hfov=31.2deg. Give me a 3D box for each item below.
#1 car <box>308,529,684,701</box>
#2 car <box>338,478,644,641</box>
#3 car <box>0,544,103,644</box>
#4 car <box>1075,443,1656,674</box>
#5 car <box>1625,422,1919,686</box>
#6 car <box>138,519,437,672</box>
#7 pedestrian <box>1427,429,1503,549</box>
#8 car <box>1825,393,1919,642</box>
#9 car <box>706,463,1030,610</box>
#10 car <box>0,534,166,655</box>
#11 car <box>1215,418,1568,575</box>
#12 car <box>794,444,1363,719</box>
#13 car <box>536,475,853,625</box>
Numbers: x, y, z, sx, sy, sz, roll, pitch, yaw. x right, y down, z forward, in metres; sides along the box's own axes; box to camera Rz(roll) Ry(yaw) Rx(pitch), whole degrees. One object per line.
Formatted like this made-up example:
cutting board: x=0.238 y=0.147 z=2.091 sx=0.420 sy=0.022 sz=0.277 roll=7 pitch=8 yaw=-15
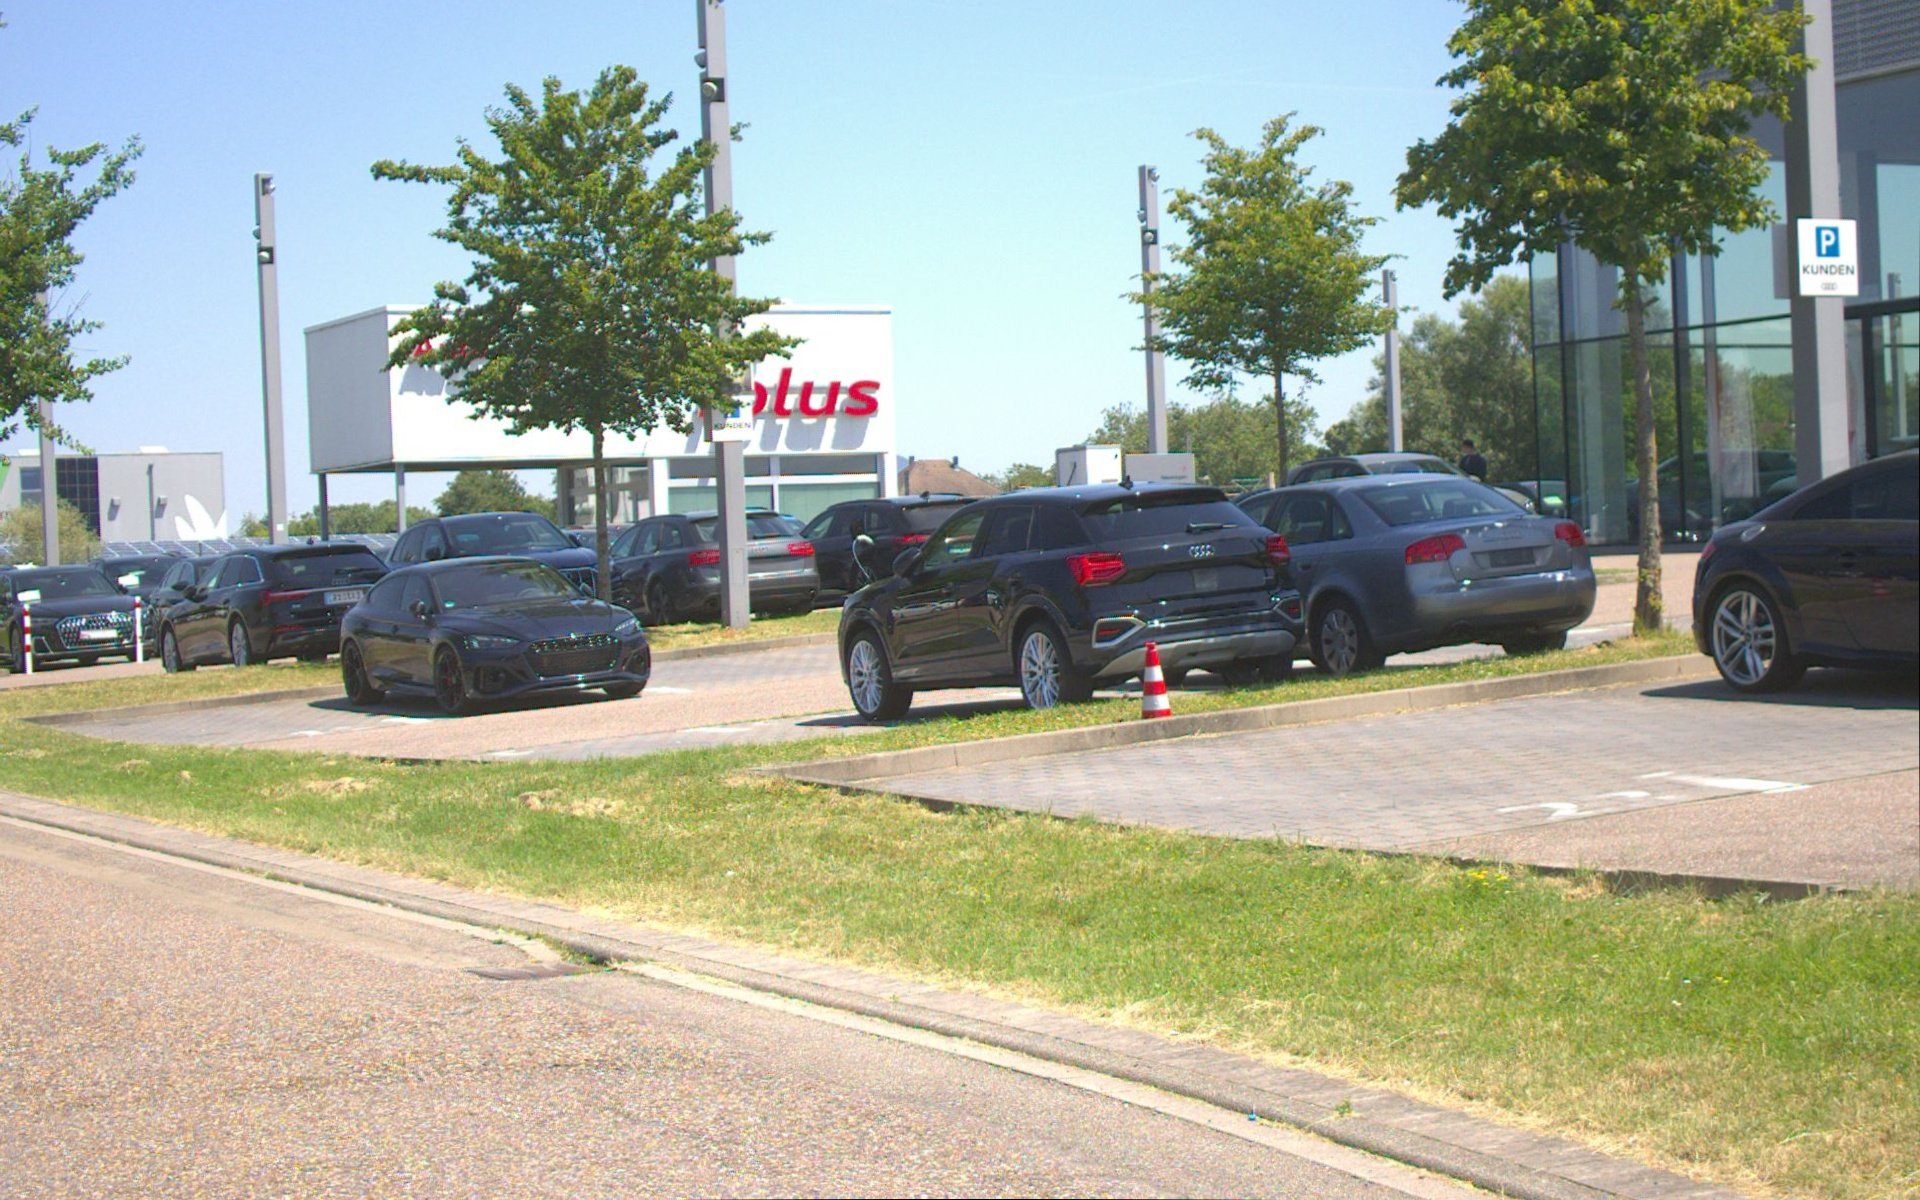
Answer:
car: x=-4.535 y=0.093 z=32.959 sx=1.961 sy=1.361 sz=4.721 roll=-6 pitch=4 yaw=-28
car: x=-5.699 y=-0.446 z=41.214 sx=1.961 sy=1.592 sz=4.986 roll=-4 pitch=0 yaw=-28
car: x=-18.140 y=0.000 z=62.451 sx=4.528 sy=1.687 sz=2.031 roll=-4 pitch=1 yaw=-29
car: x=2.793 y=-0.276 z=24.658 sx=1.961 sy=1.361 sz=4.228 roll=-6 pitch=3 yaw=-28
car: x=5.772 y=-0.308 z=18.429 sx=1.961 sy=1.370 sz=4.312 roll=-5 pitch=2 yaw=-28
car: x=-7.860 y=-0.010 z=39.794 sx=1.961 sy=1.451 sz=4.986 roll=-4 pitch=0 yaw=-28
pedestrian: x=7.689 y=-1.685 z=52.339 sx=0.770 sy=1.770 sz=0.745 roll=-4 pitch=1 yaw=-23
car: x=7.648 y=-0.596 z=20.309 sx=1.961 sy=1.547 sz=5.006 roll=-5 pitch=2 yaw=-28
car: x=-1.233 y=-0.758 z=42.982 sx=1.961 sy=1.451 sz=4.986 roll=-4 pitch=0 yaw=-28
car: x=-13.307 y=-0.068 z=50.164 sx=2.025 sy=1.509 sz=5.240 roll=-6 pitch=2 yaw=-27
car: x=5.525 y=-1.307 z=44.780 sx=1.961 sy=1.615 sz=4.986 roll=-4 pitch=0 yaw=-28
car: x=0.700 y=-0.117 z=23.554 sx=1.887 sy=1.566 sz=4.228 roll=-6 pitch=3 yaw=-28
car: x=-3.317 y=-0.572 z=41.884 sx=1.961 sy=1.451 sz=4.986 roll=-4 pitch=0 yaw=-28
